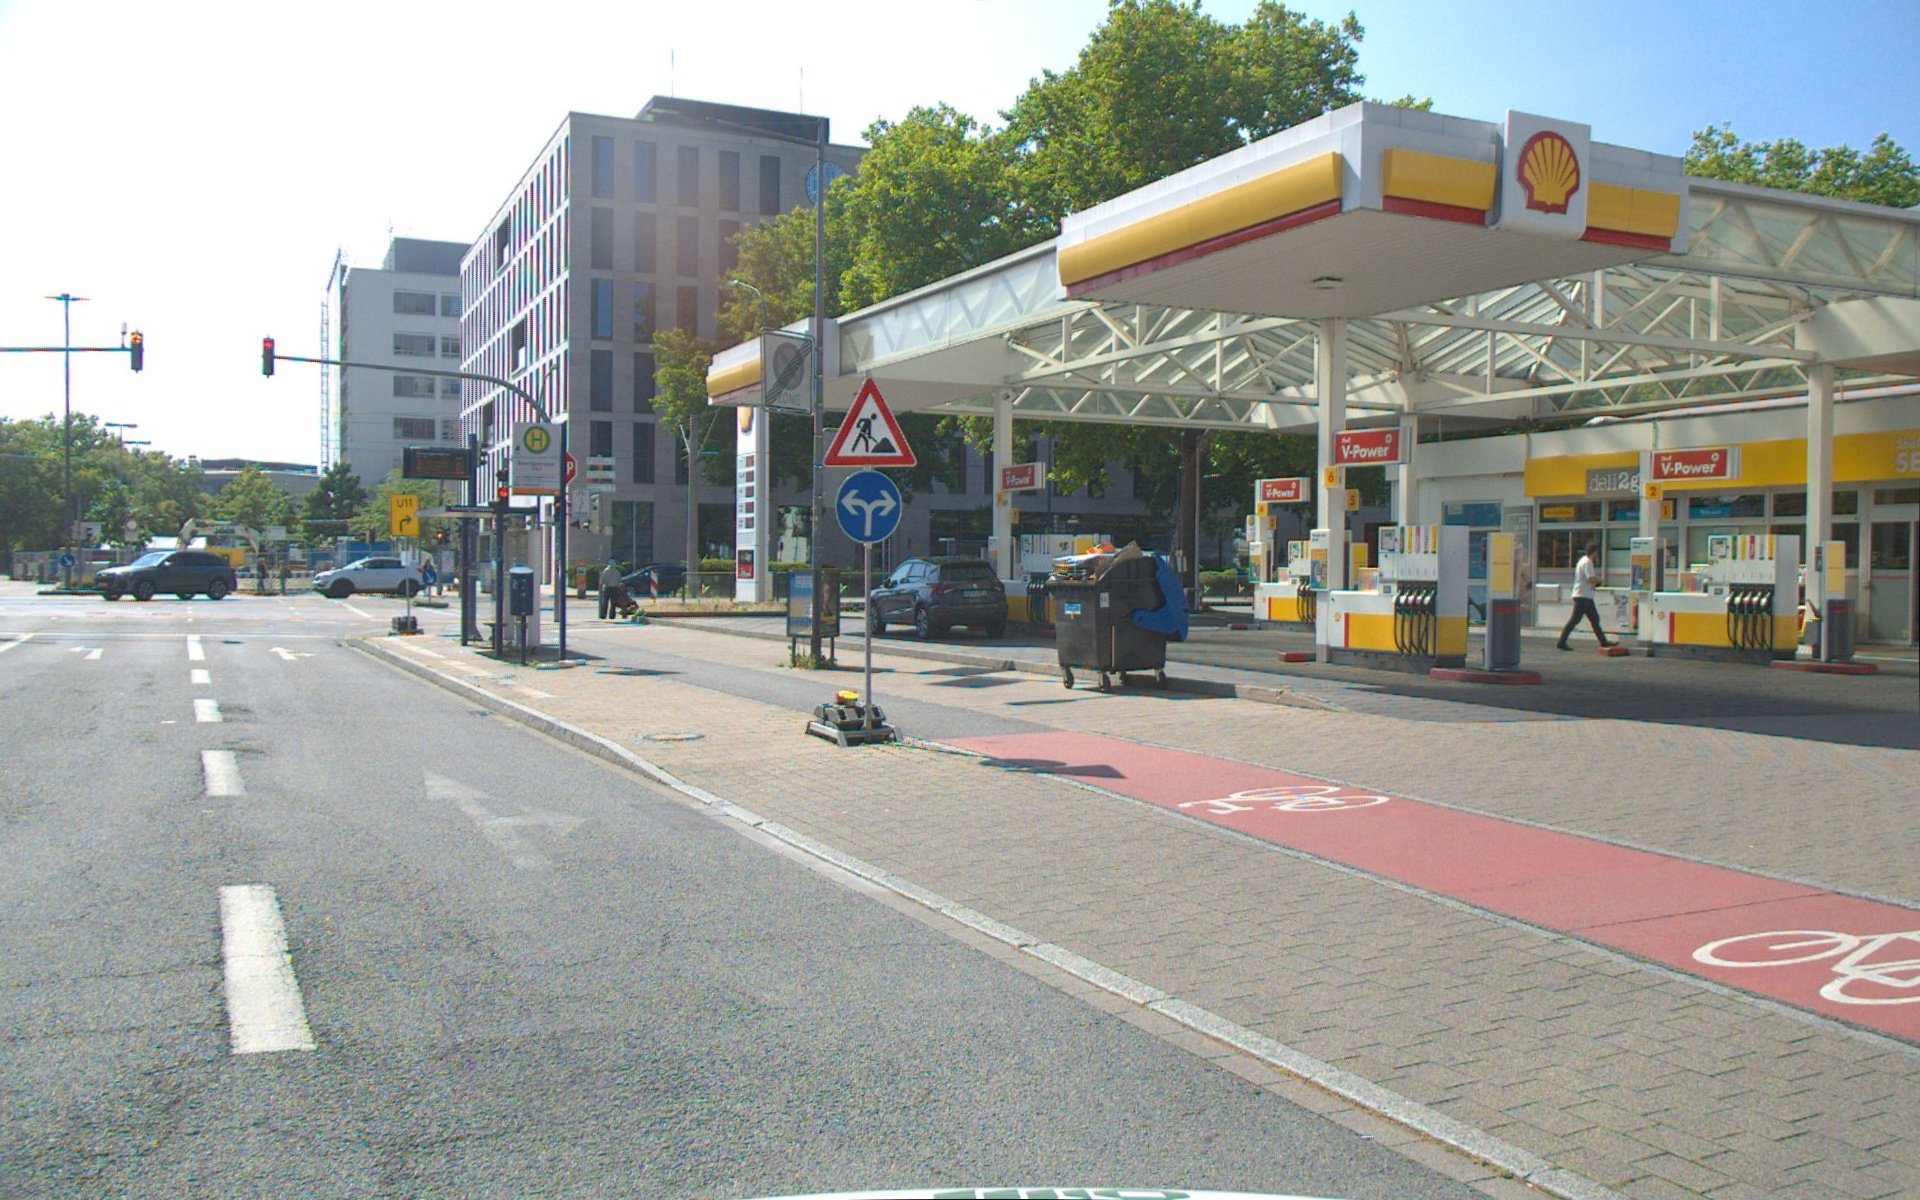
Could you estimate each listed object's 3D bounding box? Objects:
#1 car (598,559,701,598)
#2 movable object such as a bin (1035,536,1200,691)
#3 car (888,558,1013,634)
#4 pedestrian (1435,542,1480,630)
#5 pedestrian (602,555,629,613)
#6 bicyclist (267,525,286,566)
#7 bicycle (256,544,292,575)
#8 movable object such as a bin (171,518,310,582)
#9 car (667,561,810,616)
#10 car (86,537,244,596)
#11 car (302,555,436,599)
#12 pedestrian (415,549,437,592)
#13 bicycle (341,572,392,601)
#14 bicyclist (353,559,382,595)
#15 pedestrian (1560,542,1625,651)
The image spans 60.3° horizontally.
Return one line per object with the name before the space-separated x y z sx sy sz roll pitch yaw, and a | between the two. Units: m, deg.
car | -13.528 -0.948 72.079 4.060 1.667 1.984 0 1 -26
movable object such as a bin | 1.758 0.121 18.618 1.293 1.619 1.383 -3 2 -28
car | -0.246 -0.091 32.849 1.622 1.422 3.627 0 1 -15
pedestrian | 10.647 -0.298 35.396 0.663 1.853 0.627 1 1 -19
pedestrian | -9.428 -0.437 45.307 0.611 1.570 0.457 1 1 -27
bicyclist | -44.573 -3.528 107.793 1.053 2.619 0.823 1 0 -20
bicycle | -44.671 -2.639 107.758 2.057 1.996 0.823 1 0 -20
movable object such as a bin | -54.761 -3.782 126.139 9.548 4.629 3.140 1 1 -24
car | -6.675 -0.354 49.864 3.940 1.609 1.827 0 1 -27
car | -28.498 -1.183 59.452 1.956 2.049 4.861 1 1 30
car | -23.700 -0.907 66.349 4.803 1.665 1.980 0 1 -30
pedestrian | -25.213 -1.393 78.100 0.761 2.049 0.777 1 1 3
bicycle | -27.986 -0.626 77.999 2.194 1.307 0.522 1 0 -18
bicyclist | -27.944 -1.079 78.003 1.220 1.702 0.522 1 0 -18
pedestrian | 11.049 -0.067 28.894 0.843 1.870 0.740 1 1 43
